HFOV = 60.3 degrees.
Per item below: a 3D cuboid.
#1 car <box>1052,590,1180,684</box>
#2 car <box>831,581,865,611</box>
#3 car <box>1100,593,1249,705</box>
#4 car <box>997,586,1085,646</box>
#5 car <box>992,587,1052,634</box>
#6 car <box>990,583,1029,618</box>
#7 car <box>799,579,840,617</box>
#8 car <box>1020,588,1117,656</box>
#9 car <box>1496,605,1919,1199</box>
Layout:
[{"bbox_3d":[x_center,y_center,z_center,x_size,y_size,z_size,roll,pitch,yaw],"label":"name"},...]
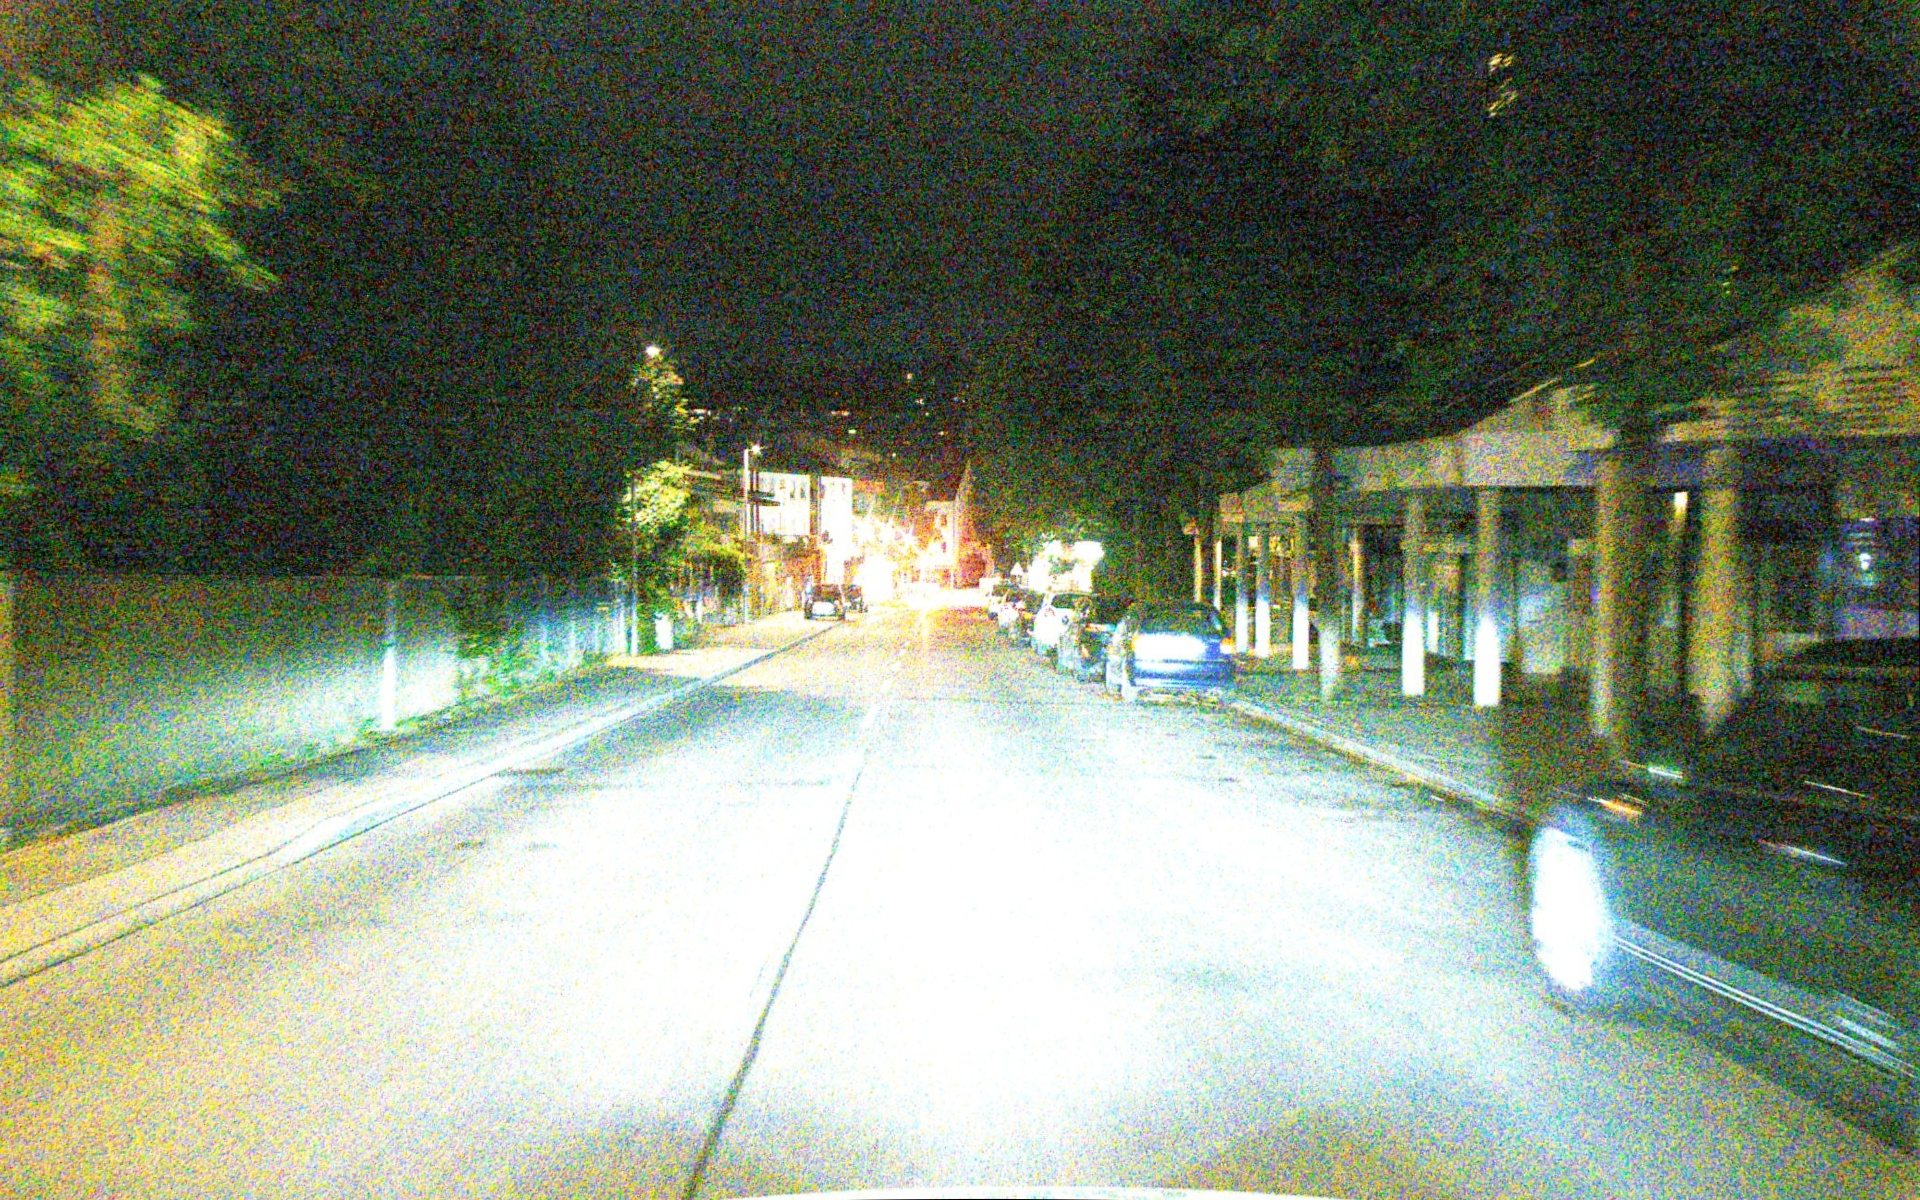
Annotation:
[{"bbox_3d":[2.667,0.599,29.111,1.649,1.474,3.998,2,1,-3],"label":"car"},{"bbox_3d":[-5.942,-0.222,88.103,1.718,1.566,3.729,0,0,-2],"label":"car"},{"bbox_3d":[3.055,0.649,24.271,1.829,1.427,4.002,2,1,3],"label":"car"},{"bbox_3d":[2.120,0.385,44.351,1.650,1.474,3.994,1,1,-7],"label":"car"},{"bbox_3d":[2.047,0.322,55.528,1.649,1.474,3.998,2,1,-3],"label":"car"},{"bbox_3d":[2.238,0.022,75.940,1.648,1.566,4.000,0,0,0],"label":"car"},{"bbox_3d":[-6.002,-0.100,70.978,1.718,1.566,3.728,0,0,-4],"label":"car"},{"bbox_3d":[2.545,0.494,39.716,1.650,1.474,3.995,1,1,-6],"label":"car"},{"bbox_3d":[3.100,0.783,4.955,1.597,1.464,3.863,1,0,-2],"label":"car"}]
